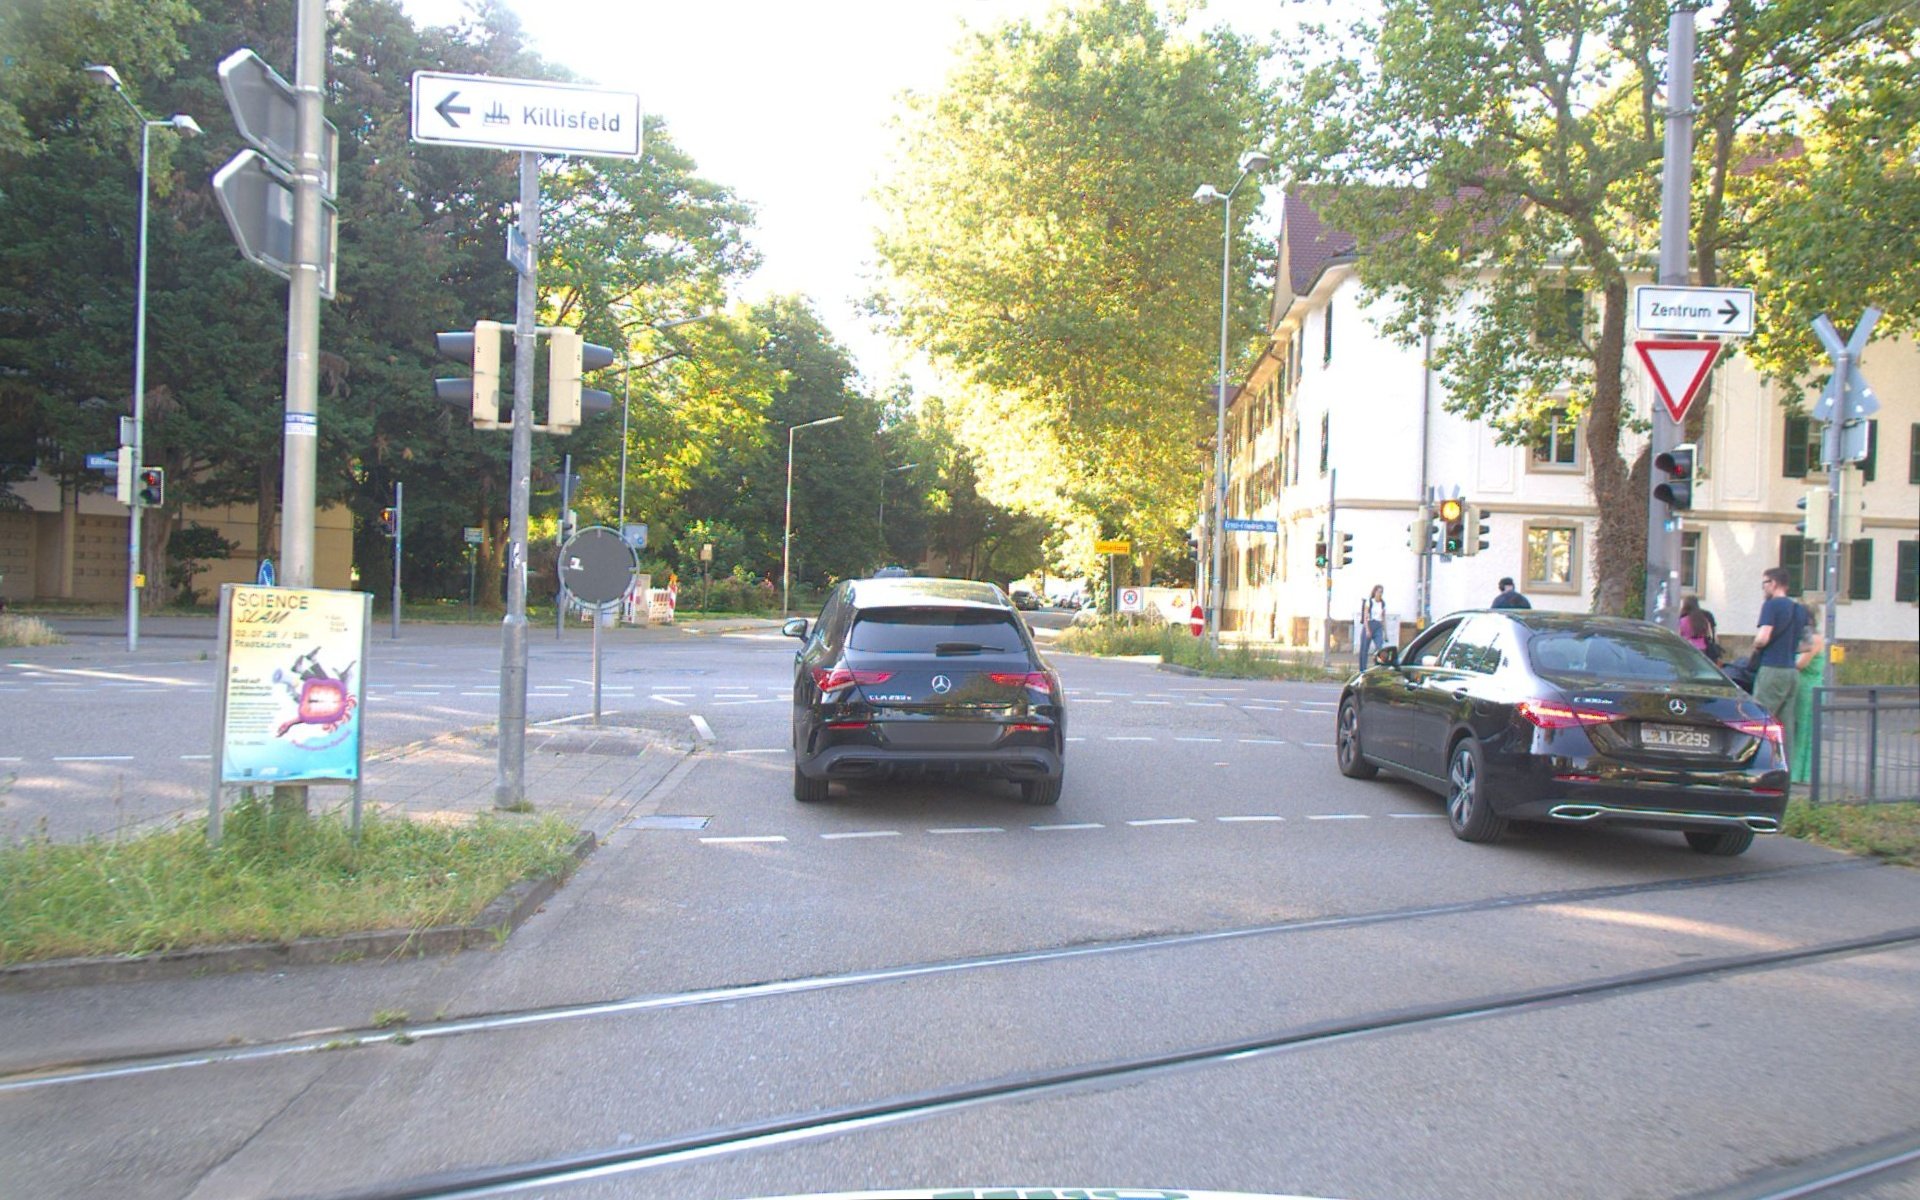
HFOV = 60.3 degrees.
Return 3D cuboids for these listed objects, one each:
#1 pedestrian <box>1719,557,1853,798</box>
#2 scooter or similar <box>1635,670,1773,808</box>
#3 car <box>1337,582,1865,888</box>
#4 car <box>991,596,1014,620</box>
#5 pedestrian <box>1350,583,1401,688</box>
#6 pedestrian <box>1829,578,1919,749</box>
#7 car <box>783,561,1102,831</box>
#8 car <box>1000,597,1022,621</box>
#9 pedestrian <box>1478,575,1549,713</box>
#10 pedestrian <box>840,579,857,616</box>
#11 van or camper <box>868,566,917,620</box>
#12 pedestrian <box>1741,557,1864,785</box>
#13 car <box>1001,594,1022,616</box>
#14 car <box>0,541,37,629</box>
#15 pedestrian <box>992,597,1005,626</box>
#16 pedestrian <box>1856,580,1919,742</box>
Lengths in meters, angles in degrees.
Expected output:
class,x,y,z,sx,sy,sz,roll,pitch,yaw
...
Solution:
class,x,y,z,sx,sy,sz,roll,pitch,yaw
pedestrian,6.934,0.641,13.908,0.692,1.951,0.683,2,-1,-8
scooter or similar,6.615,1.222,14.732,0.812,1.124,0.809,2,-1,-3
car,4.077,0.735,11.431,1.851,1.516,4.382,2,2,-1
car,3.358,0.615,129.765,1.698,1.796,4.020,2,0,2
pedestrian,7.963,0.667,31.695,0.691,1.951,0.839,2,-1,-1
pedestrian,10.873,0.736,19.540,0.691,1.951,0.839,2,-1,-1
car,-0.265,0.534,11.848,1.853,1.475,3.997,2,2,-5
car,4.199,0.738,134.687,1.698,1.796,4.020,2,0,2
pedestrian,8.103,0.637,24.243,0.691,1.951,0.839,2,-1,-1
pedestrian,-6.008,-0.142,89.255,0.690,1.951,0.840,2,-1,8
van or camper,-3.405,-0.351,84.318,1.952,2.586,4.652,2,0,3
pedestrian,7.484,0.615,14.716,0.669,1.951,0.707,2,-1,-1
car,4.426,0.459,142.773,1.698,1.796,4.020,2,0,2
car,-21.764,-0.394,34.515,3.902,1.805,2.002,2,0,10
pedestrian,2.663,0.800,114.368,0.692,1.951,0.838,2,-1,-7
pedestrian,11.717,0.747,20.505,0.691,1.951,0.839,2,-1,-1
